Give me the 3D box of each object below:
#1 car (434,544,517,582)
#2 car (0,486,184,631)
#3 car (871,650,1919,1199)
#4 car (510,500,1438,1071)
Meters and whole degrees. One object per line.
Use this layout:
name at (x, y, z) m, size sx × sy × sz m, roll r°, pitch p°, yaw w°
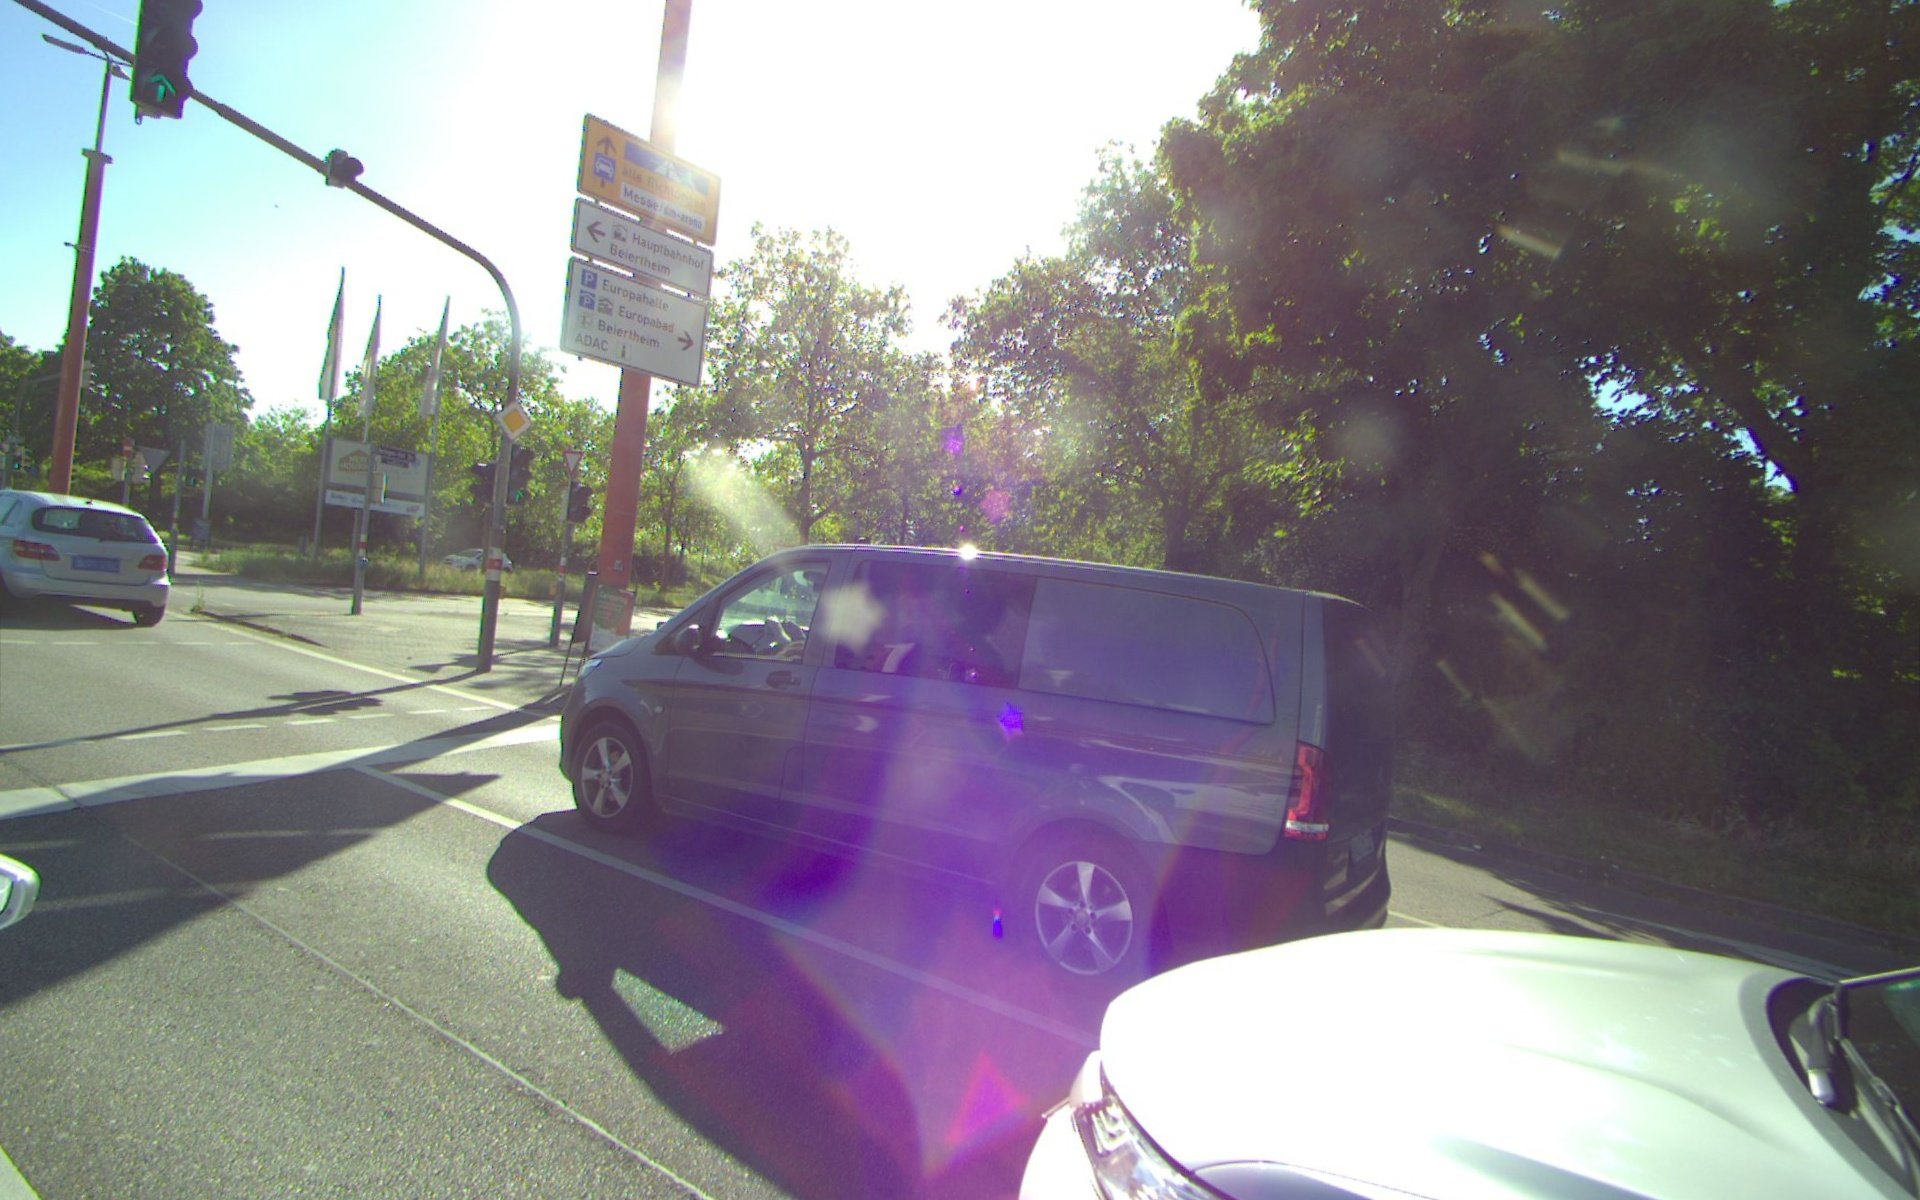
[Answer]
car at (-28.503, -2.138, 59.317) m, size 1.737 × 1.654 × 4.299 m, roll 7°, pitch -1°, yaw 21°
car at (-12.712, -0.646, 13.981) m, size 3.784 × 1.626 × 1.719 m, roll 6°, pitch -2°, yaw 32°
car at (2.269, 1.145, 0.987) m, size 4.606 × 1.510 × 1.807 m, roll 7°, pitch -2°, yaw 33°
car at (-0.219, 0.605, 5.797) m, size 5.021 × 1.875 × 1.806 m, roll 7°, pitch 0°, yaw 34°
